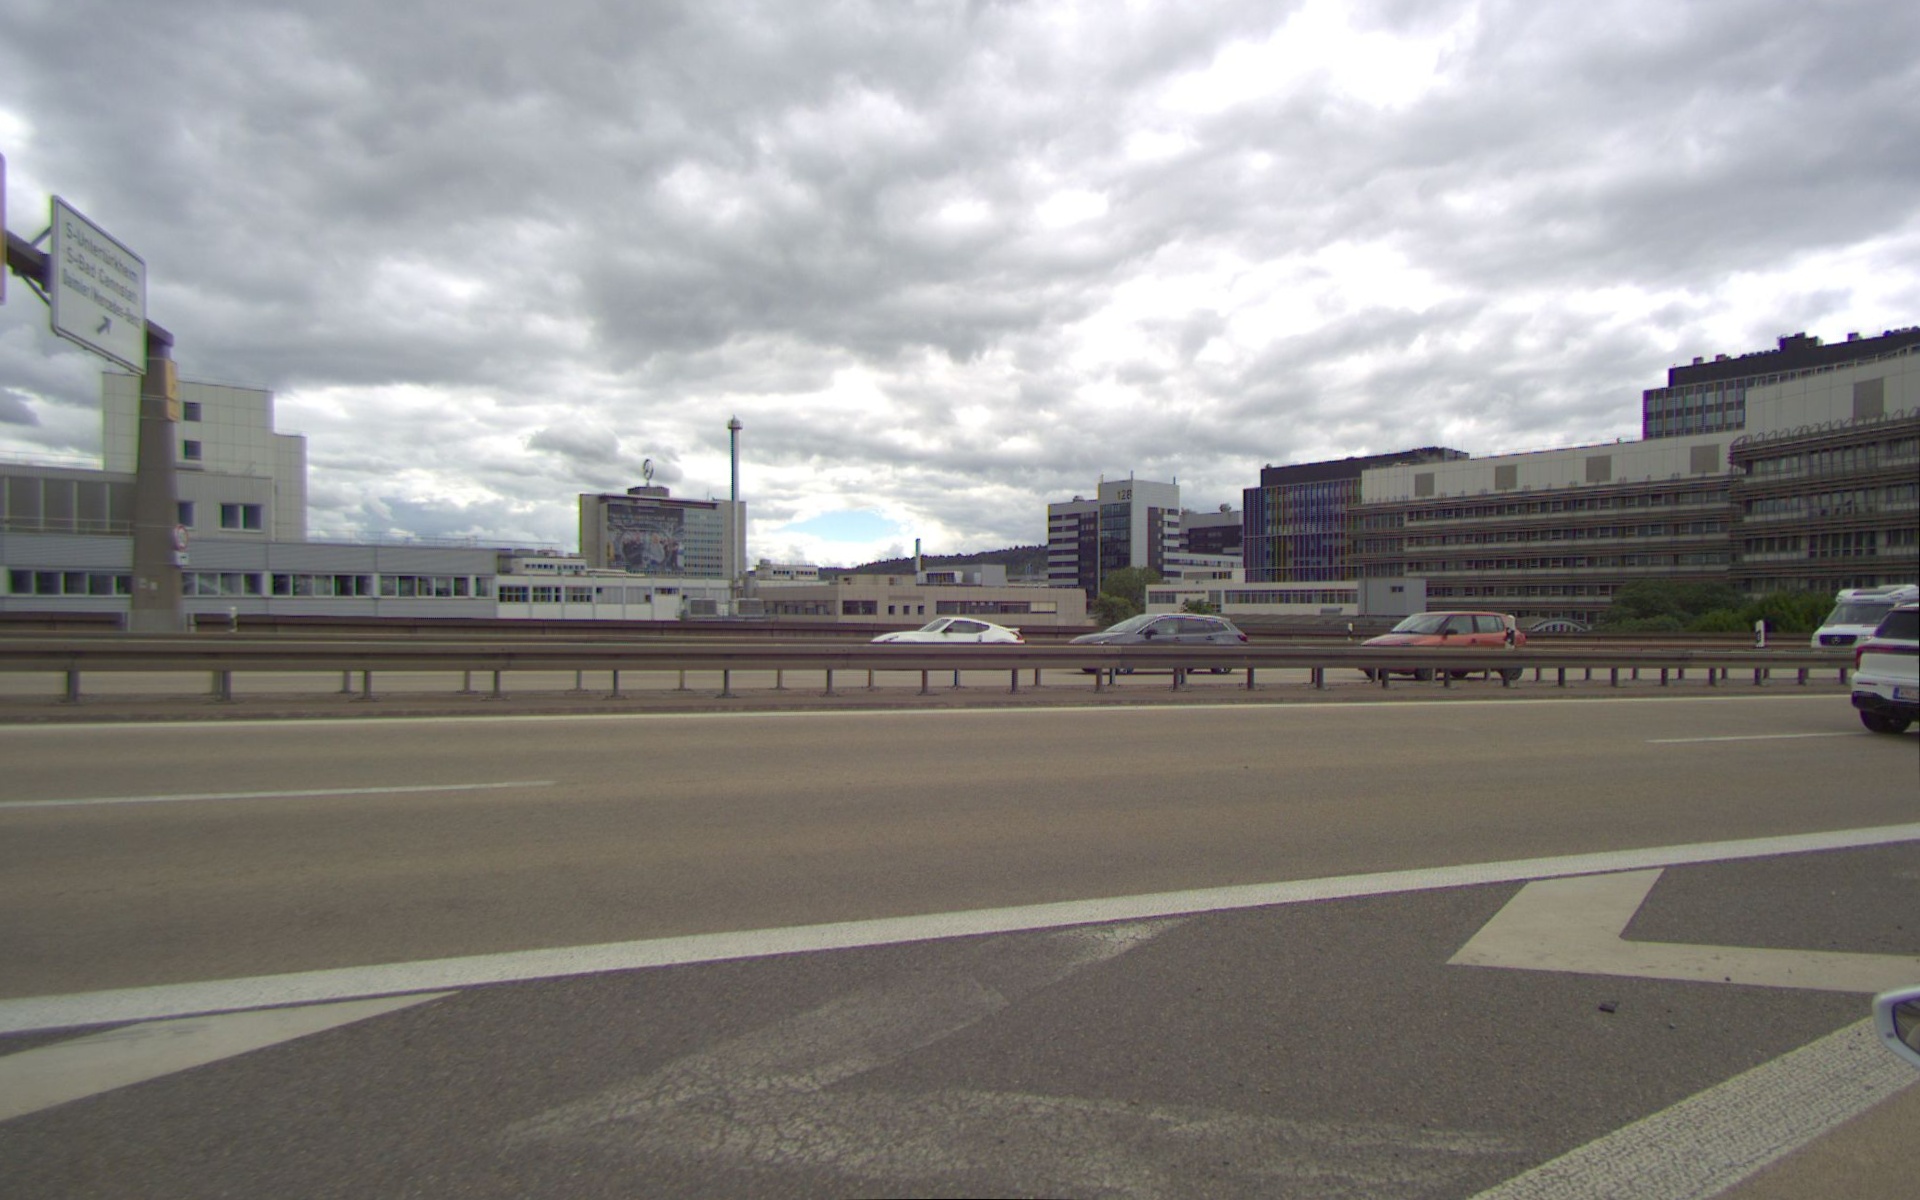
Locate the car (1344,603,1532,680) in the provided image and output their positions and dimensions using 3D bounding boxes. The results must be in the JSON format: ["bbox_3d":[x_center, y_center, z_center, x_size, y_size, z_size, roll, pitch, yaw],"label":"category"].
[{"bbox_3d":[10.466,0.936,22.027,3.585,1.571,1.693,2,-2,-19],"label":"car"}]

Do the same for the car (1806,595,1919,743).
[{"bbox_3d":[13.301,0.854,12.494,4.815,1.691,1.992,1,1,-18],"label":"car"}]

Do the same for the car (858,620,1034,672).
[{"bbox_3d":[-0.362,1.153,25.655,4.214,1.251,1.641,1,-2,-19],"label":"car"}]

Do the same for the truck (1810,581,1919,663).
[{"bbox_3d":[33.270,0.791,34.761,7.233,2.661,2.489,1,-2,-19],"label":"truck"}]
